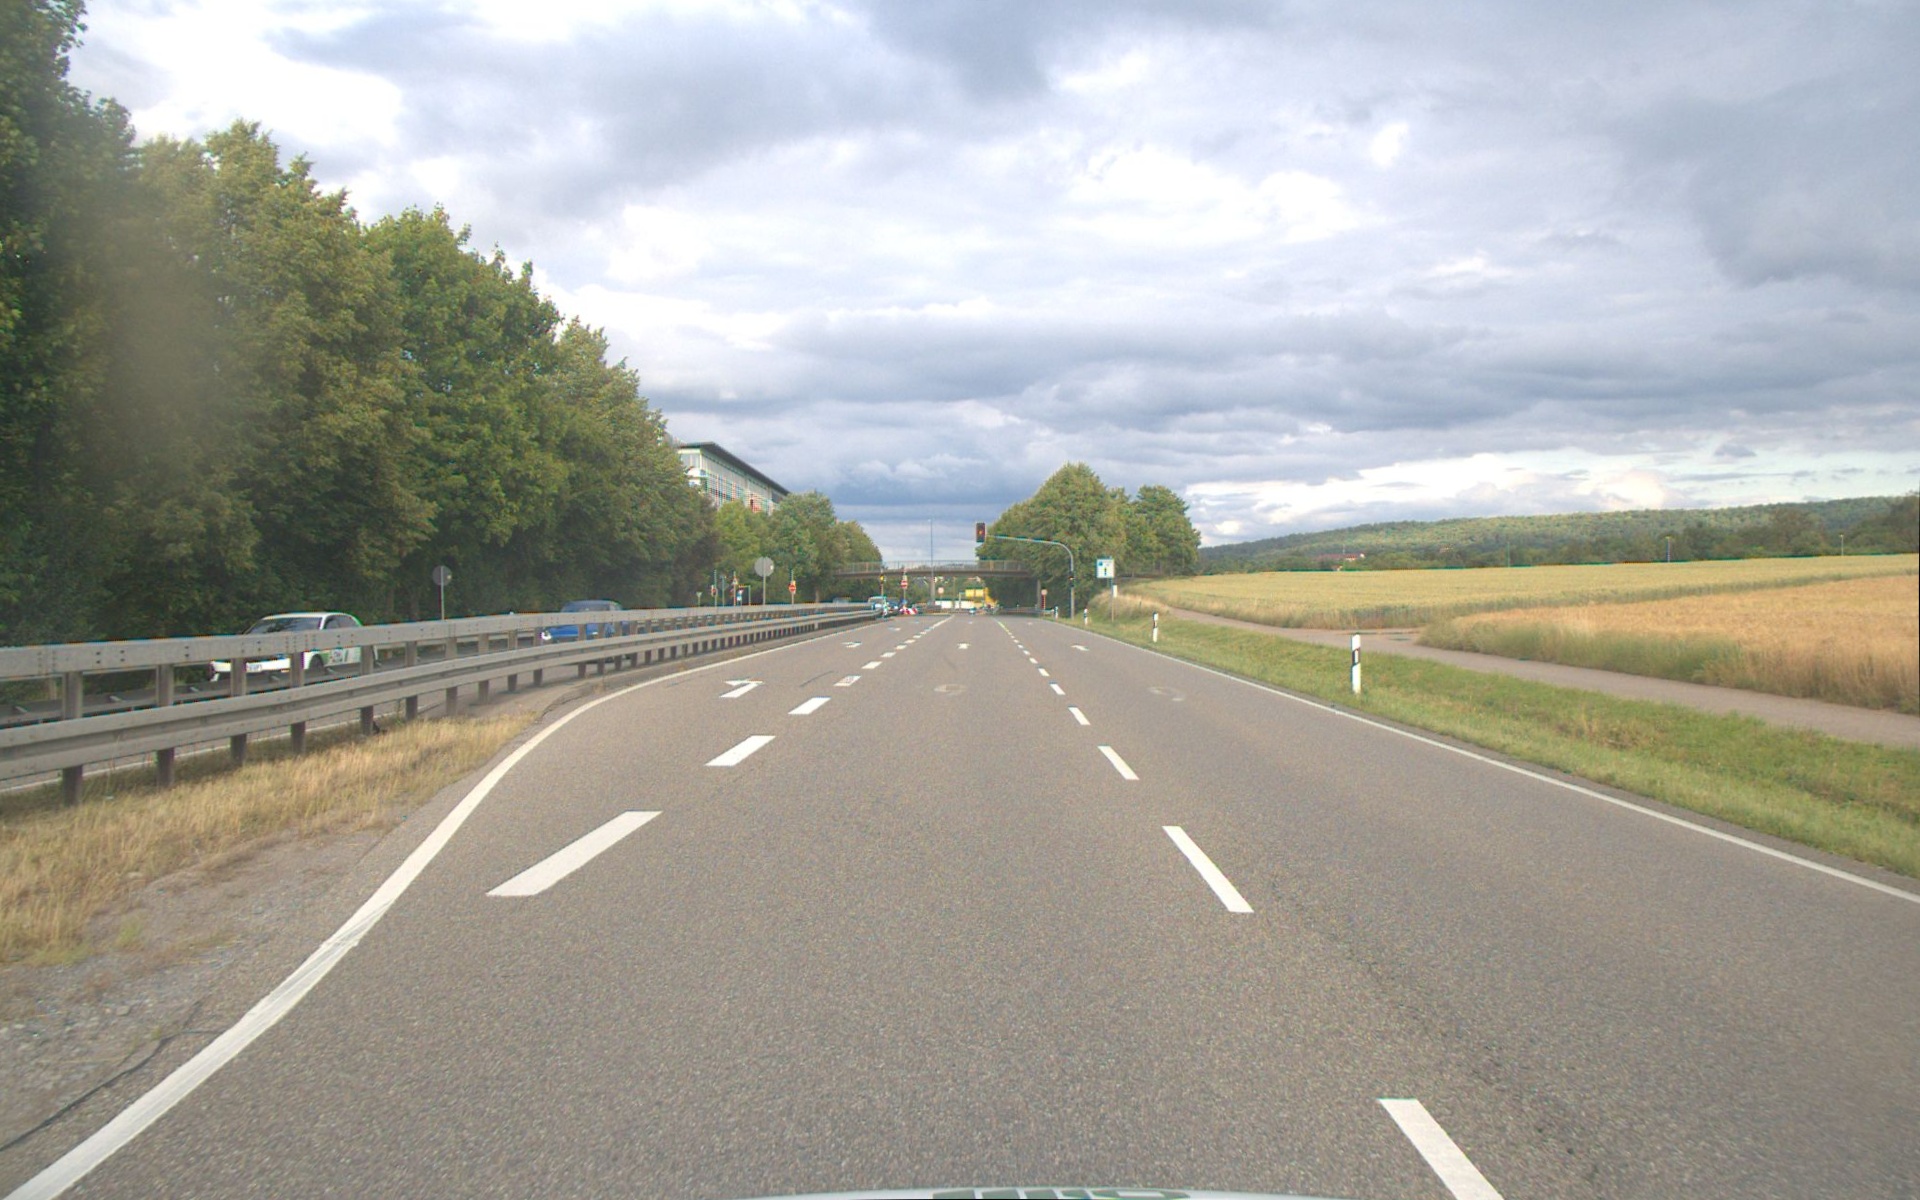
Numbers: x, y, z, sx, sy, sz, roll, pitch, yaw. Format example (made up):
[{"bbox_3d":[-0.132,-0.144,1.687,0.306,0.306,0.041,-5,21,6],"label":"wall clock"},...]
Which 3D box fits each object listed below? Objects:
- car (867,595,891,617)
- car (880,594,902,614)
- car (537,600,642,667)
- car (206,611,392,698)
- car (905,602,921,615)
[{"bbox_3d":[-7.400,0.546,151.616,1.908,1.906,4.737,0,0,1],"label":"car"},{"bbox_3d":[-6.953,0.413,167.584,1.952,1.906,4.737,0,0,1],"label":"car"},{"bbox_3d":[-9.023,0.789,40.523,1.732,1.493,3.712,-1,1,0],"label":"car"},{"bbox_3d":[-12.471,0.980,31.521,1.723,1.437,4.459,-1,1,0],"label":"car"},{"bbox_3d":[-4.223,0.784,149.590,1.329,1.111,2.922,0,0,1],"label":"car"}]
